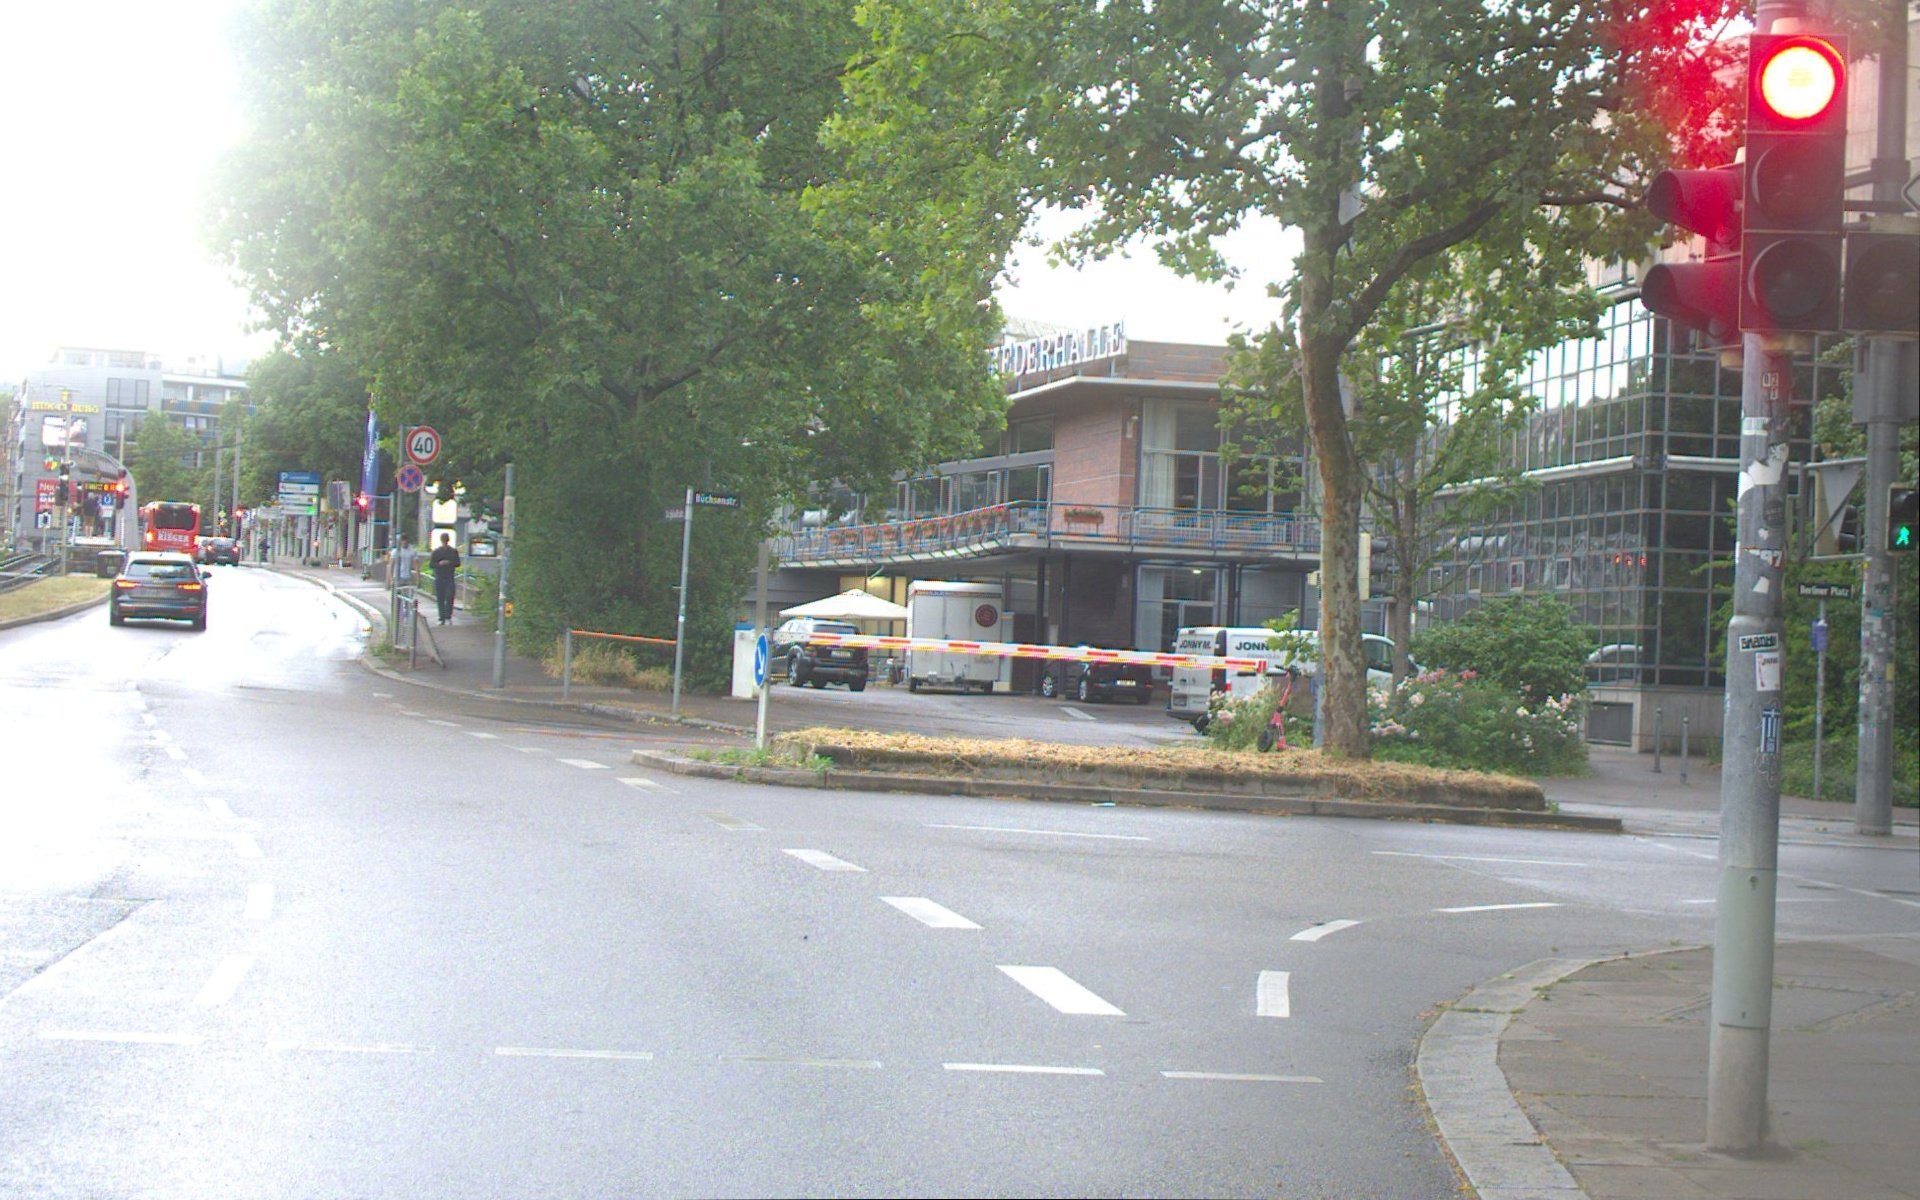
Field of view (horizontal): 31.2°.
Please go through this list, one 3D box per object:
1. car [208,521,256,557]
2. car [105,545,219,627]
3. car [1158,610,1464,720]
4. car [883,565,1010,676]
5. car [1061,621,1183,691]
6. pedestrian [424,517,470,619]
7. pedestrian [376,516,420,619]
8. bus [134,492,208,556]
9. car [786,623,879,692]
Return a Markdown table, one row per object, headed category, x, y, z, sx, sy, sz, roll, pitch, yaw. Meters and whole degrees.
| category | x | y | z | sx | sy | sz | roll | pitch | yaw |
| --- | --- | --- | --- | --- | --- | --- | --- | --- | --- |
| car | -38.408 | -3.204 | 181.396 | 2.362 | 1.810 | 5.185 | 1 | 1 | -13 |
| car | -15.365 | -0.284 | 66.378 | 1.993 | 1.514 | 4.351 | 1 | 1 | -11 |
| car | 6.363 | 1.177 | 62.206 | 5.198 | 1.725 | 1.875 | 3 | 1 | -25 |
| car | -0.425 | 0.486 | 91.399 | 2.731 | 2.686 | 6.923 | 3 | 1 | -5 |
| car | 4.167 | 1.434 | 89.211 | 2.019 | 1.546 | 4.351 | 3 | 1 | -13 |
| pedestrian | -10.238 | -0.637 | 68.627 | 0.874 | 2.007 | 1.077 | 1 | 0 | -8 |
| pedestrian | -11.159 | -0.646 | 68.257 | 0.814 | 2.007 | 1.077 | 1 | 0 | -8 |
| bus | -40.499 | -3.858 | 176.413 | 3.589 | 3.160 | 10.423 | 1 | 1 | -13 |
| car | -3.239 | 1.456 | 87.948 | 2.019 | 1.546 | 4.350 | 3 | 1 | 2 |
